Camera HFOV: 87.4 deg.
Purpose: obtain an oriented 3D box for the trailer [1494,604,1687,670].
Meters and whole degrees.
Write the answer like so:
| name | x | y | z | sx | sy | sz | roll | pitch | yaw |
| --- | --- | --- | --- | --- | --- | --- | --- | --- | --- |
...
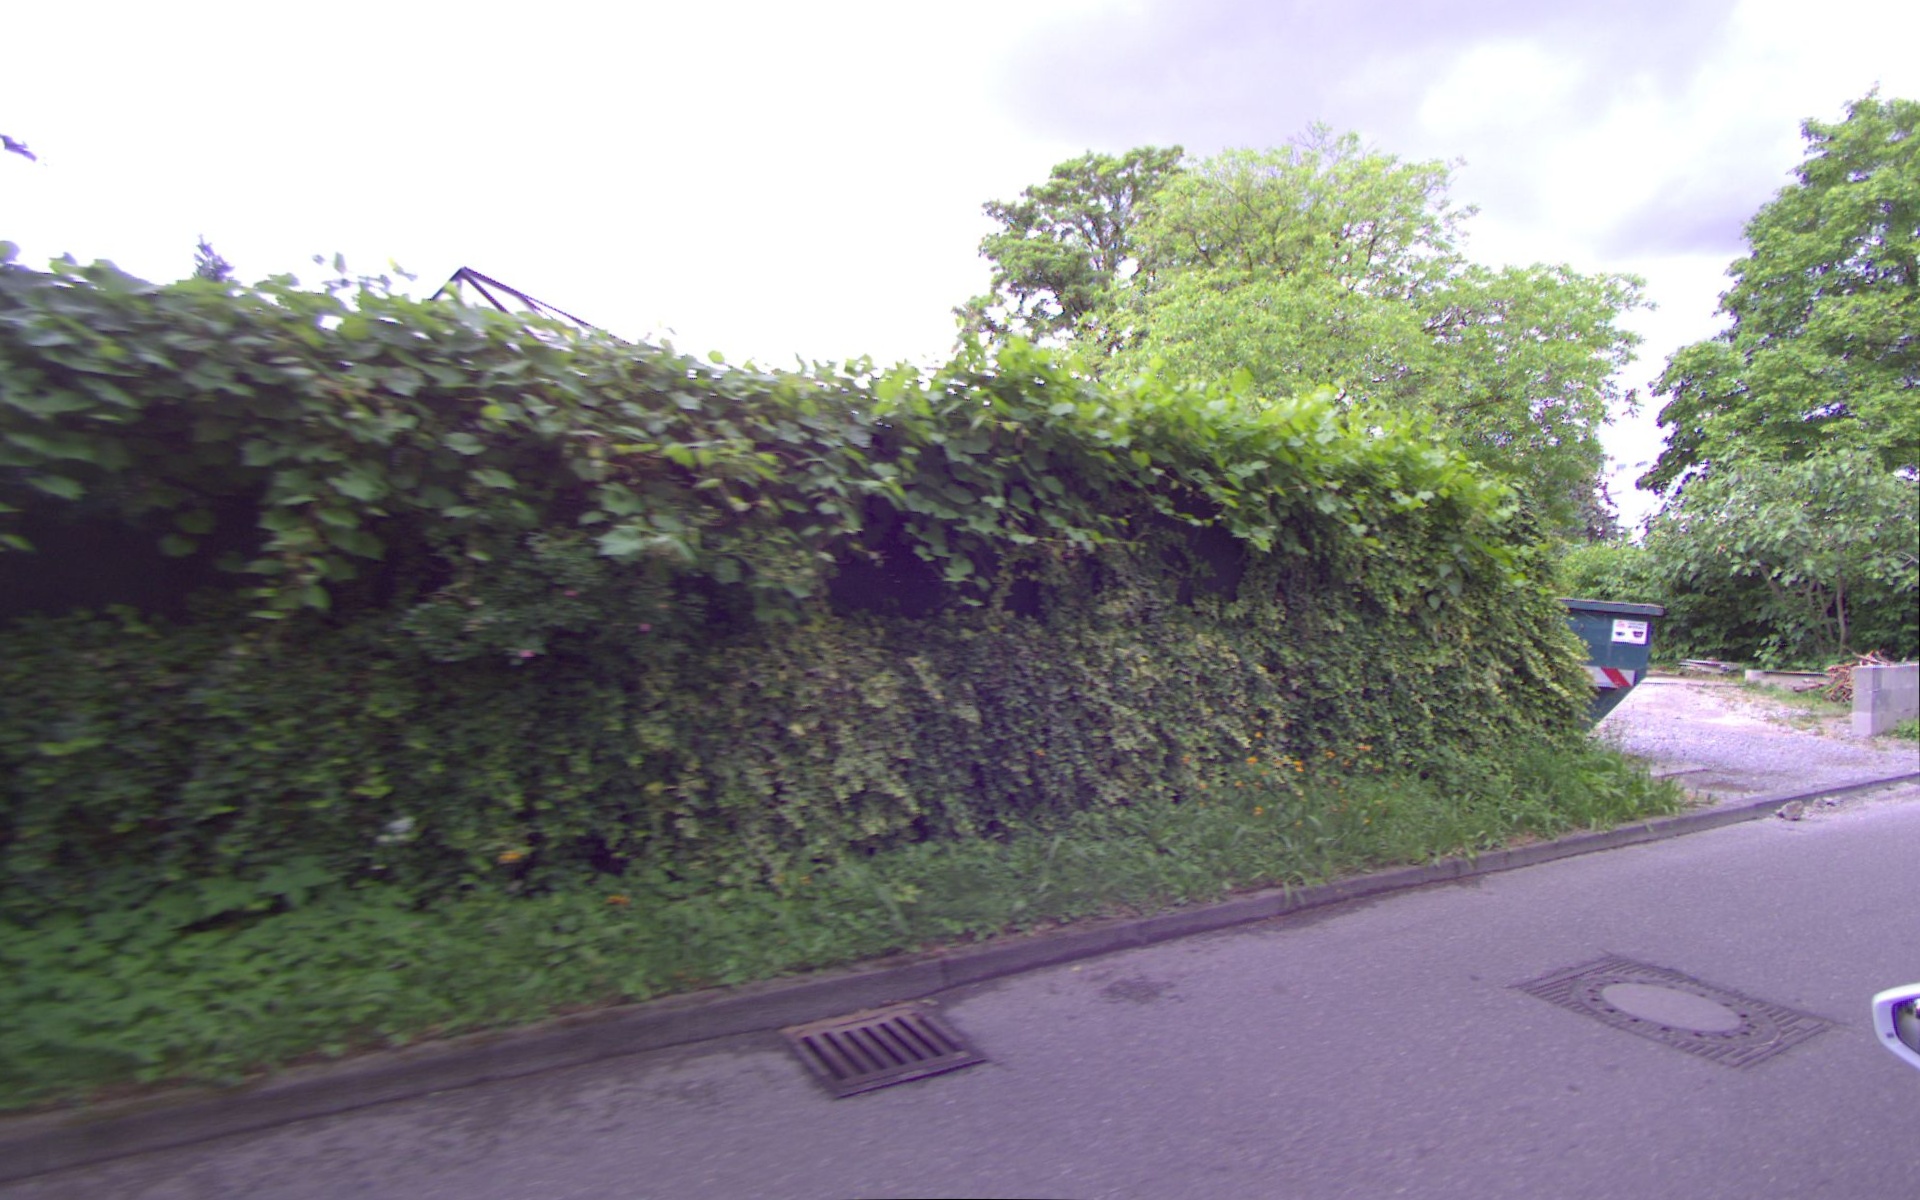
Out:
| name | x | y | z | sx | sy | sz | roll | pitch | yaw |
| --- | --- | --- | --- | --- | --- | --- | --- | --- | --- |
| trailer | 12.088 | 0.646 | 19.592 | 1.959 | 1.061 | 4.002 | 1 | 1 | 13 |
